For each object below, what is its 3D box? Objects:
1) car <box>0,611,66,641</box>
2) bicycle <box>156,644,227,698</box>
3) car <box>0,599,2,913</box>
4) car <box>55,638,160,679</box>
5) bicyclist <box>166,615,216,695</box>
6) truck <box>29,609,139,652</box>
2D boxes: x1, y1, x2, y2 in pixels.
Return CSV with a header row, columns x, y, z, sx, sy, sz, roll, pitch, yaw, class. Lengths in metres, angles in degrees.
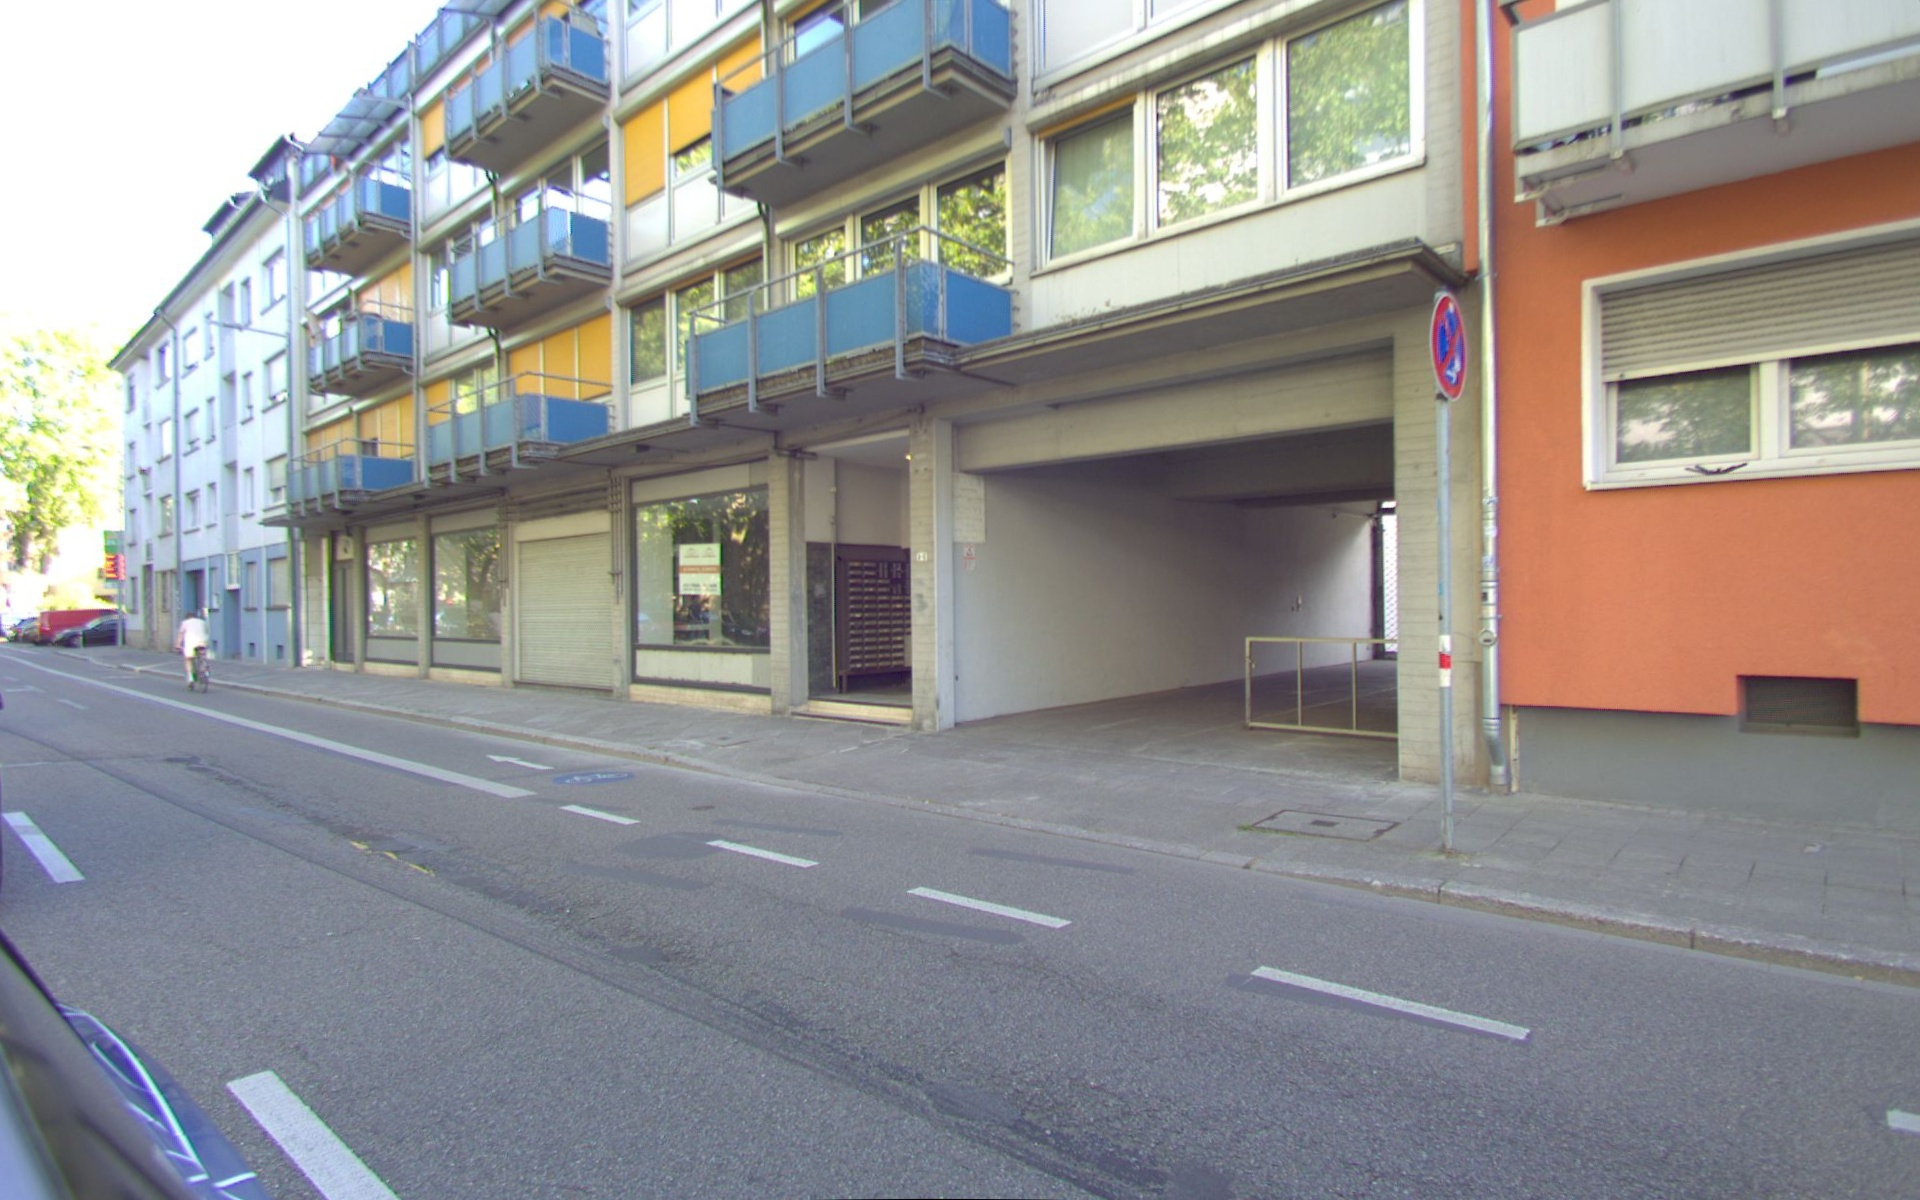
x,y,z,sx,sy,sz,roll,pitch,yaw,class
-67.115,1.827,72.842,1.999,2.029,3.947,-1,0,40,car
-16.180,1.463,21.282,2.631,0.994,0.683,-1,-1,41,bicycle
-6.905,0.788,5.629,4.715,1.479,1.776,-1,-1,40,car
-44.261,3.000,52.588,1.830,1.849,3.946,-1,0,40,car
-16.148,1.137,21.260,0.758,1.643,0.683,-1,-1,41,bicyclist
-48.352,1.637,55.923,1.876,2.174,4.348,-1,0,40,truck
